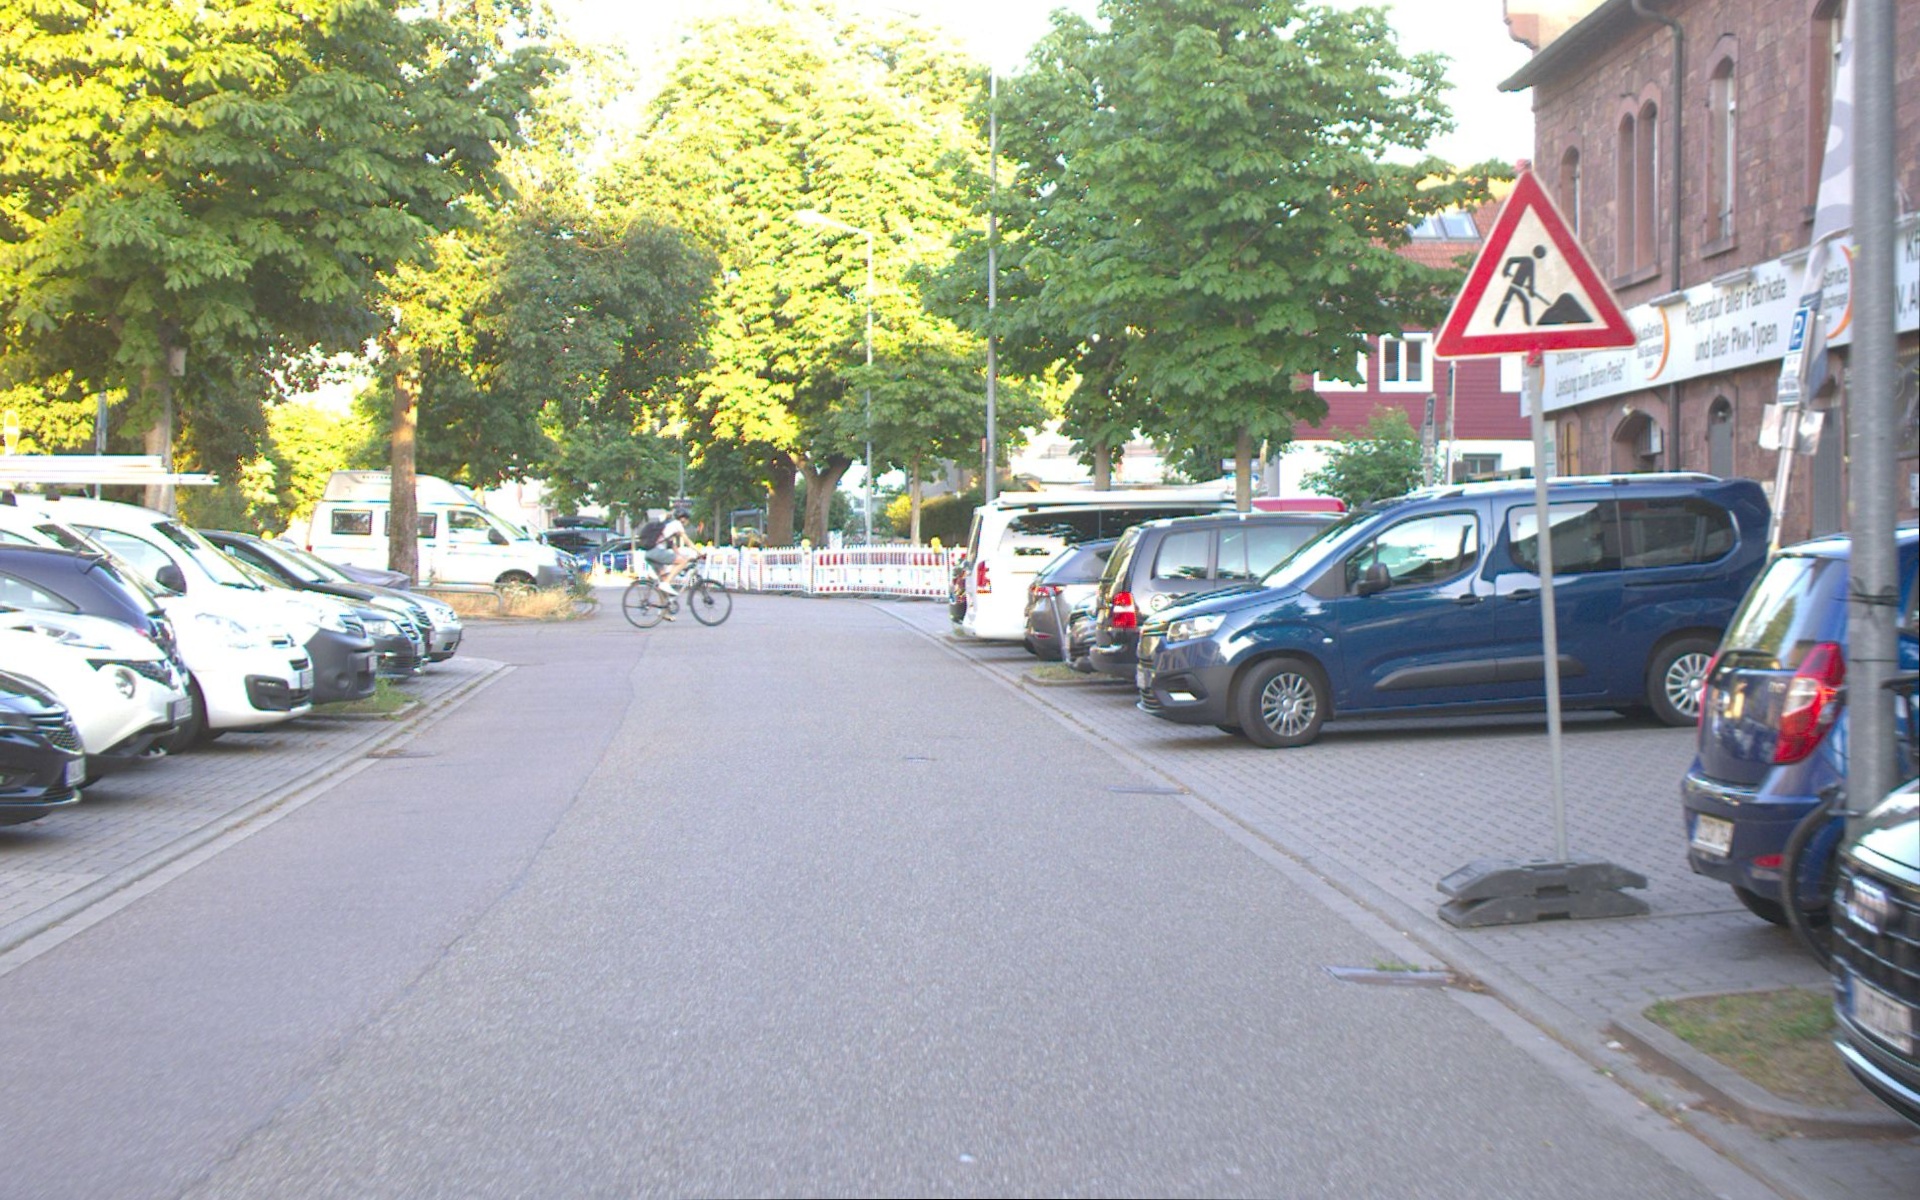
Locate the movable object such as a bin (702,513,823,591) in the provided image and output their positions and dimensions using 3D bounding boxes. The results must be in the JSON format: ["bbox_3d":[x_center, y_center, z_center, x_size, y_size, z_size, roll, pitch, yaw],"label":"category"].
[{"bbox_3d":[-6.241,-1.506,108.013,2.627,2.394,5.199,0,1,-17],"label":"movable object such as a bin"}]

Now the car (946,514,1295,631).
[{"bbox_3d":[2.078,-0.361,45.227,4.426,1.494,1.774,0,1,-3],"label":"car"}]

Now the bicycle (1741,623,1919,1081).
[{"bbox_3d":[2.688,0.681,10.087,0.308,1.188,1.763,0,1,-3],"label":"bicycle"}]

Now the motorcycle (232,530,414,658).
[{"bbox_3d":[-7.196,-0.066,38.905,1.985,1.431,0.722,0,1,-7],"label":"motorcycle"}]

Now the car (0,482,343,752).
[{"bbox_3d":[-6.826,0.057,24.626,4.421,1.796,1.943,2,1,0],"label":"car"}]

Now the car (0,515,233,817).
[{"bbox_3d":[-6.489,0.303,19.739,4.243,1.615,1.813,2,1,-2],"label":"car"}]

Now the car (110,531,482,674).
[{"bbox_3d":[-7.154,0.018,37.275,3.713,1.501,1.690,0,1,-1],"label":"car"}]

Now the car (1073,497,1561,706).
[{"bbox_3d":[3.118,-0.006,30.554,3.986,1.613,1.895,-3,1,-4],"label":"car"}]

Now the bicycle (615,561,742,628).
[{"bbox_3d":[-4.205,-0.084,51.403,1.857,0.995,0.374,0,1,-21],"label":"bicycle"}]

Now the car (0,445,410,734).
[{"bbox_3d":[-6.843,-0.155,27.353,4.512,2.063,2.000,3,2,1],"label":"car"}]

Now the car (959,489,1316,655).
[{"bbox_3d":[2.045,-0.335,40.429,3.986,1.897,2.000,0,1,-3],"label":"car"}]

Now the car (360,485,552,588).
[{"bbox_3d":[-12.114,-1.512,82.502,4.501,2.422,2.001,0,1,-10],"label":"car"}]

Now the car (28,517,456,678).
[{"bbox_3d":[-7.226,-0.036,34.854,3.987,1.578,1.729,0,1,-1],"label":"car"}]

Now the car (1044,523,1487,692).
[{"bbox_3d":[2.882,0.059,32.962,3.945,1.560,1.821,0,1,-6],"label":"car"}]

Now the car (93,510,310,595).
[{"bbox_3d":[-16.982,-1.059,77.156,4.672,1.867,2.001,0,1,-10],"label":"car"}]

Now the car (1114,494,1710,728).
[{"bbox_3d":[3.594,0.050,27.880,4.414,1.569,1.982,-3,2,-4],"label":"car"}]

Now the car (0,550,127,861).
[{"bbox_3d":[-6.566,0.409,17.106,4.407,1.447,1.828,2,1,-4],"label":"car"}]

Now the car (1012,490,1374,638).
[{"bbox_3d":[2.857,-0.451,42.849,4.300,1.793,1.904,0,1,-3],"label":"car"}]

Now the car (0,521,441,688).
[{"bbox_3d":[-7.217,0.019,32.494,4.326,1.400,1.851,2,1,-1],"label":"car"}]

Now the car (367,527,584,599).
[{"bbox_3d":[-9.788,-0.744,69.719,4.243,1.389,1.684,1,1,-4],"label":"car"}]

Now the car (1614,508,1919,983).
[{"bbox_3d":[4.610,0.373,12.509,3.987,1.540,1.845,-4,1,-2],"label":"car"}]

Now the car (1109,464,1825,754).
[{"bbox_3d":[3.620,0.023,25.143,4.786,1.748,2.018,-3,2,-3],"label":"car"}]

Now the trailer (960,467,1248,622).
[{"bbox_3d":[2.048,-0.806,49.858,3.986,2.180,2.000,0,1,-3],"label":"trailer"}]

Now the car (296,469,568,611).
[{"bbox_3d":[-9.688,-1.101,63.325,4.731,2.561,2.000,0,1,-2],"label":"car"}]

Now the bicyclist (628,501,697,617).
[{"bbox_3d":[-4.448,-0.610,51.320,0.837,1.720,0.801,0,1,-20],"label":"bicyclist"}]

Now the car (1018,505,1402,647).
[{"bbox_3d":[2.688,-0.266,37.566,3.986,1.504,1.776,0,1,-3],"label":"car"}]

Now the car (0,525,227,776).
[{"bbox_3d":[-6.944,0.226,22.298,3.986,1.479,1.756,3,1,-3],"label":"car"}]

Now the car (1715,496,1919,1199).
[{"bbox_3d":[4.262,0.461,7.520,4.695,1.626,2.000,-4,1,0],"label":"car"}]
